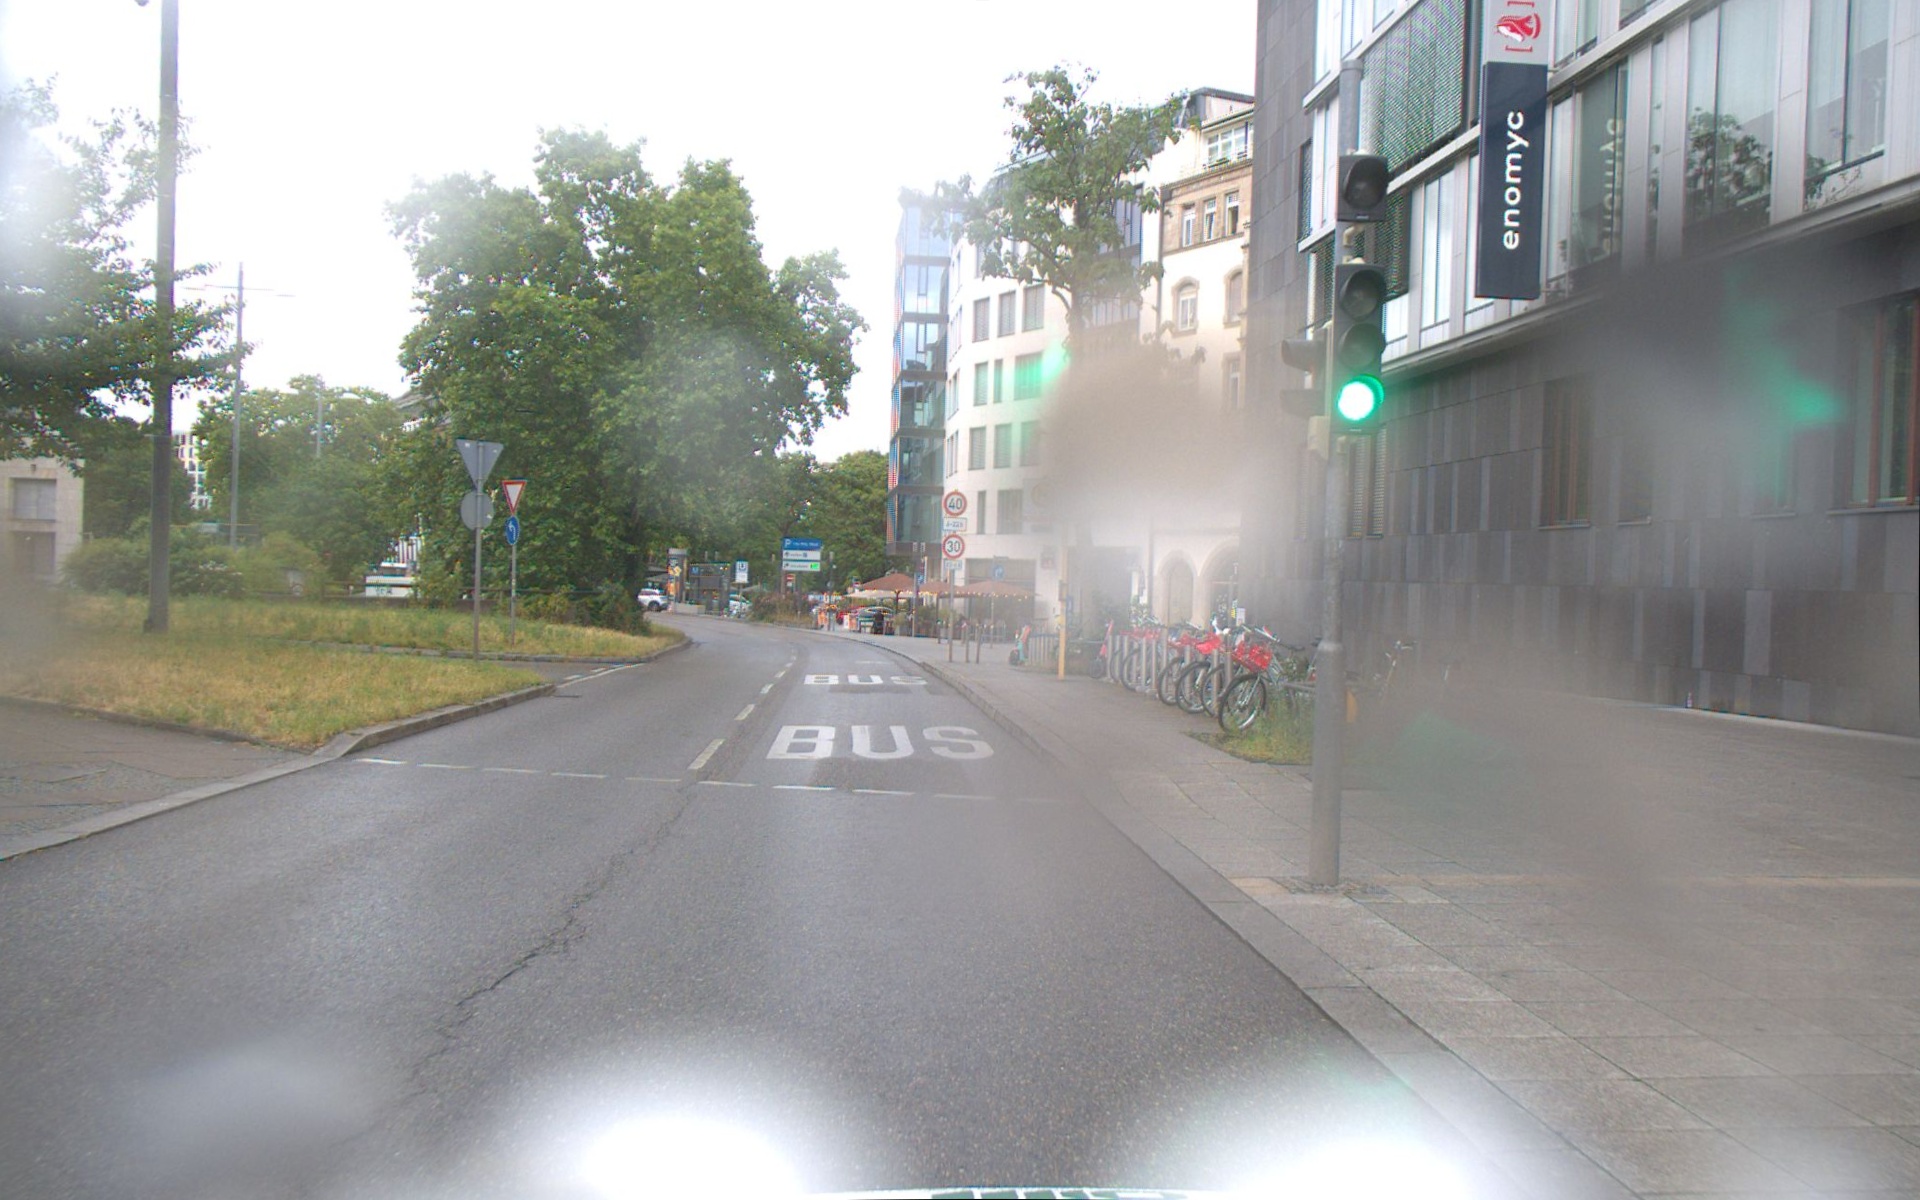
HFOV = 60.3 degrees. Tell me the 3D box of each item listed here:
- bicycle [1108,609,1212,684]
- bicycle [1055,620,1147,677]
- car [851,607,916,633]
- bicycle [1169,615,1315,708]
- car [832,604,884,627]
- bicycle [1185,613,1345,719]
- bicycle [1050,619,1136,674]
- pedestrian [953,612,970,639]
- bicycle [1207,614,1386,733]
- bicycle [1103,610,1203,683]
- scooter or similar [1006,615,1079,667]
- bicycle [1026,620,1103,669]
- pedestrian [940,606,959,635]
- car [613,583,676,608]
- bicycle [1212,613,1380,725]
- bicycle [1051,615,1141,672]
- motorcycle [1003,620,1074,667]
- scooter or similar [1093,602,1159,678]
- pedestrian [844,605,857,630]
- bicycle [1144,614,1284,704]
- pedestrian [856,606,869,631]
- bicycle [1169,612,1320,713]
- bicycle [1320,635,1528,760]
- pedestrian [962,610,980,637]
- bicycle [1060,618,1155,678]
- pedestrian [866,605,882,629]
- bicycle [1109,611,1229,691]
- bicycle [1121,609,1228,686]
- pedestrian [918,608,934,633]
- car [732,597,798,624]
[{"bbox_3d":[3.222,0.750,26.688,1.507,1.160,0.687,2,-2,-11],"label":"bicycle"},{"bbox_3d":[2.888,0.992,33.839,1.761,1.087,0.555,3,-2,-9],"label":"bicycle"},{"bbox_3d":[-5.705,1.495,123.150,4.643,1.720,2.003,3,0,-5],"label":"car"},{"bbox_3d":[3.605,0.783,21.181,1.698,1.160,0.687,1,0,-11],"label":"bicycle"},{"bbox_3d":[-8.039,1.213,130.183,3.928,1.536,1.790,3,0,41],"label":"car"},{"bbox_3d":[3.561,0.767,19.356,1.698,1.204,0.687,1,0,-11],"label":"bicycle"},{"bbox_3d":[2.931,1.029,36.512,1.762,1.127,0.668,3,-2,-10],"label":"bicycle"},{"bbox_3d":[0.078,1.340,85.827,0.620,1.349,0.630,4,-1,-29],"label":"pedestrian"},{"bbox_3d":[3.526,0.760,17.378,1.698,1.204,0.687,1,0,-11],"label":"bicycle"},{"bbox_3d":[3.204,0.768,27.500,1.507,1.160,0.661,2,-2,-11],"label":"bicycle"},{"bbox_3d":[2.151,1.081,43.229,1.759,1.265,0.594,3,-2,-10],"label":"scooter or similar"},{"bbox_3d":[2.595,1.113,41.173,1.762,1.127,0.668,3,-2,-10],"label":"bicycle"},{"bbox_3d":[-0.499,0.989,79.366,0.759,1.349,0.634,4,-1,-9],"label":"pedestrian"},{"bbox_3d":[-23.995,-0.343,125.807,4.239,1.695,1.955,2,-1,12],"label":"car"},{"bbox_3d":[3.748,0.763,18.497,1.698,1.204,0.687,1,0,-11],"label":"bicycle"},{"bbox_3d":[2.852,0.906,34.615,1.761,1.087,0.555,3,-2,-9],"label":"bicycle"},{"bbox_3d":[2.093,1.154,43.963,1.759,1.160,0.594,3,-2,-10],"label":"motorcycle"},{"bbox_3d":[2.872,0.693,28.637,1.086,1.280,0.302,2,-2,-12],"label":"scooter or similar"},{"bbox_3d":[-6.136,0.972,92.300,0.595,1.349,0.566,4,-1,-9],"label":"pedestrian"},{"bbox_3d":[3.372,0.782,22.002,1.698,1.160,0.687,1,0,-11],"label":"bicycle"},{"bbox_3d":[-5.461,1.021,92.426,0.595,1.349,0.566,4,-1,-9],"label":"pedestrian"},{"bbox_3d":[3.491,0.766,20.324,1.698,1.204,0.687,1,0,-11],"label":"bicycle"},{"bbox_3d":[4.231,0.883,15.124,1.698,1.089,0.687,1,0,-11],"label":"bicycle"},{"bbox_3d":[0.543,1.195,84.636,0.620,1.349,0.630,4,-1,-29],"label":"pedestrian"},{"bbox_3d":[2.939,0.959,32.974,1.761,1.087,0.555,3,-2,-9],"label":"bicycle"},{"bbox_3d":[-4.898,0.968,93.998,0.802,1.349,0.634,4,-1,-9],"label":"pedestrian"},{"bbox_3d":[3.163,0.768,25.093,1.675,1.160,0.687,2,-2,-11],"label":"bicycle"},{"bbox_3d":[3.356,0.739,25.919,1.507,1.160,0.687,2,-2,-11],"label":"bicycle"},{"bbox_3d":[-1.941,1.174,94.712,0.802,1.349,0.634,4,-1,-9],"label":"pedestrian"},{"bbox_3d":[-14.140,0.767,120.353,4.643,1.720,2.003,3,0,-5],"label":"car"}]
